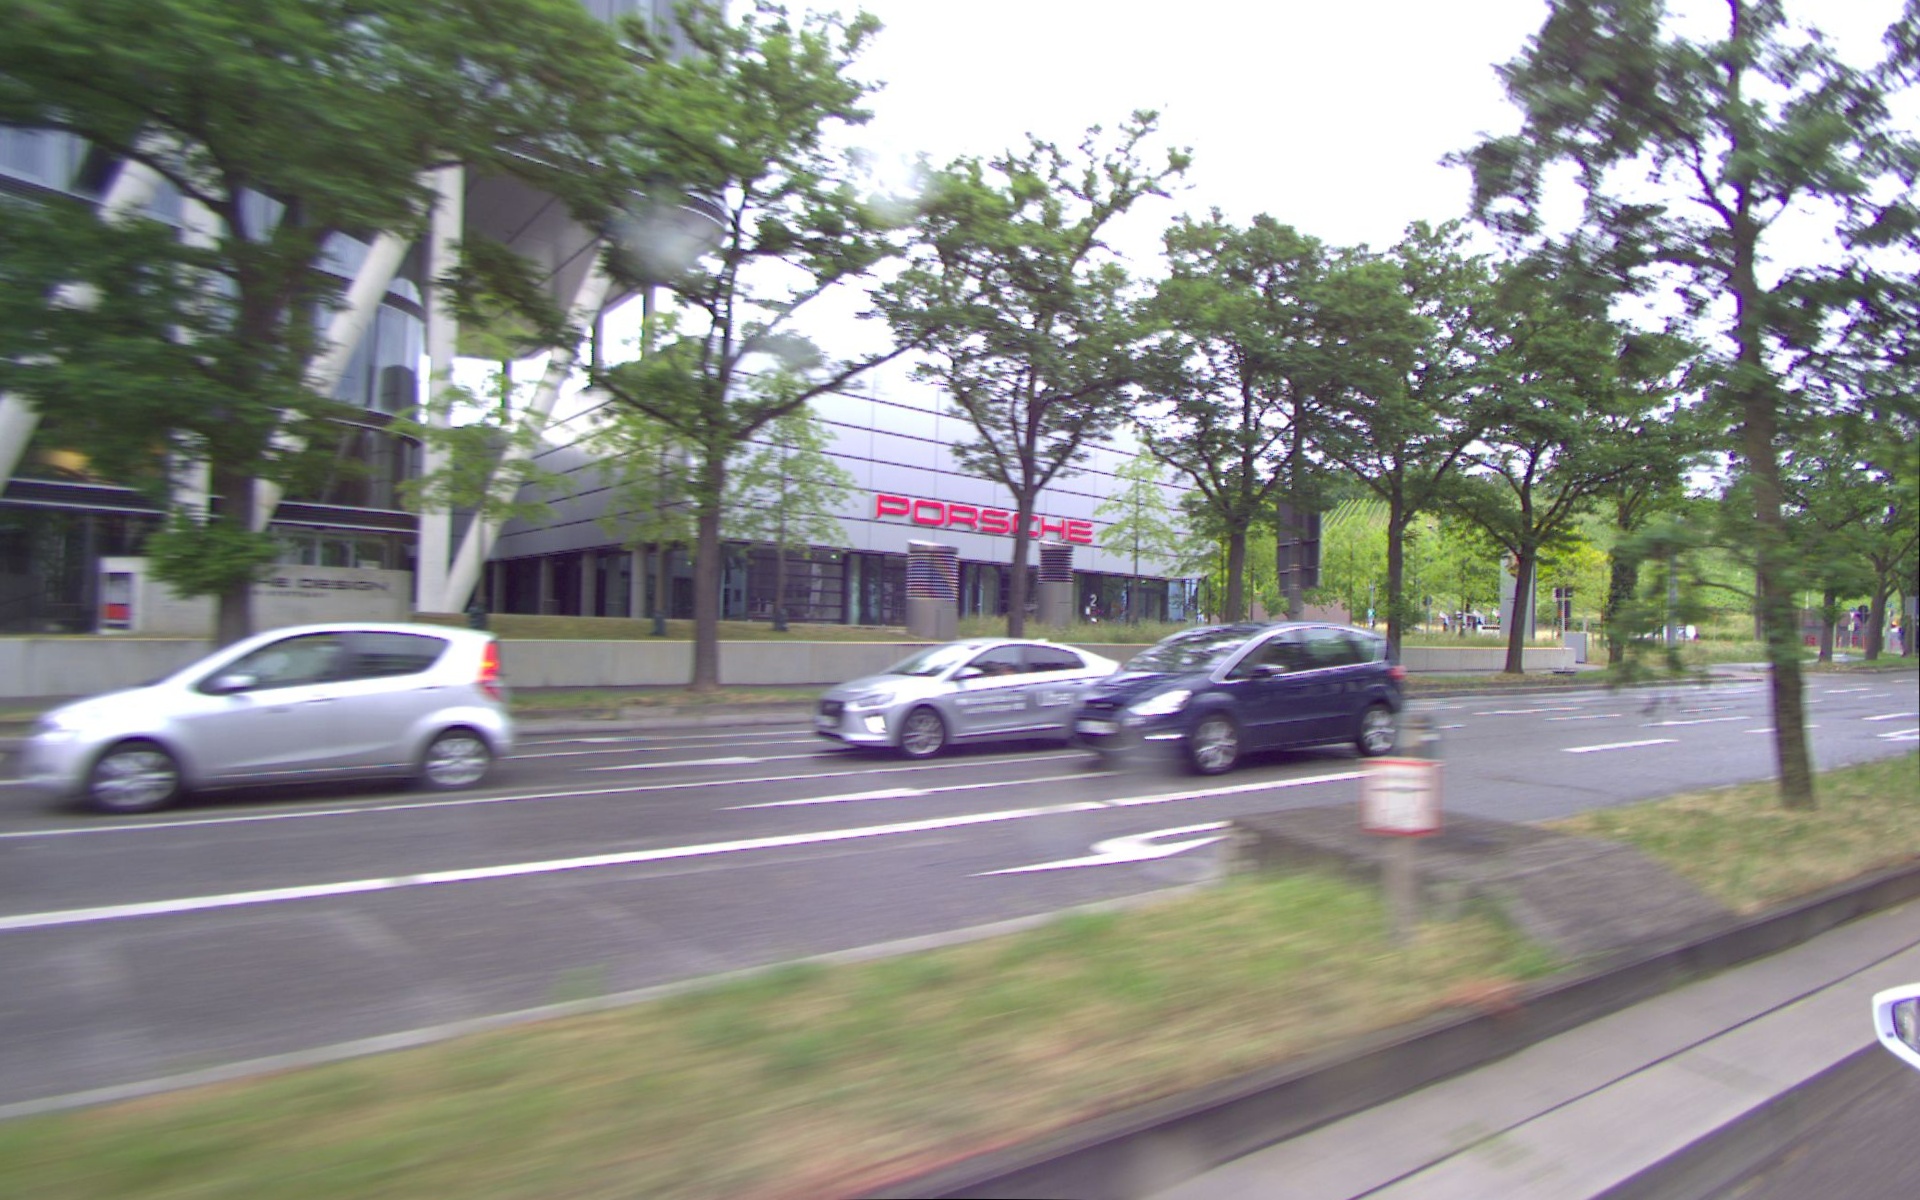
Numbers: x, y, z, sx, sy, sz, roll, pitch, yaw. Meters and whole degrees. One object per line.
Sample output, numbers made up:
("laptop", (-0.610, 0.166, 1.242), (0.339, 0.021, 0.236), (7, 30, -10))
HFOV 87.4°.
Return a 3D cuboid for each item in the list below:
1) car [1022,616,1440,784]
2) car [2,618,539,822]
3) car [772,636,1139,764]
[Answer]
("car", (3.356, 1.076, 12.038), (5.066, 1.637, 1.982), (2, -3, -33))
("car", (-6.106, 0.996, 9.388), (3.775, 1.540, 1.741), (2, -3, -32))
("car", (0.029, 1.226, 13.257), (4.604, 1.429, 1.805), (2, -3, -32))
